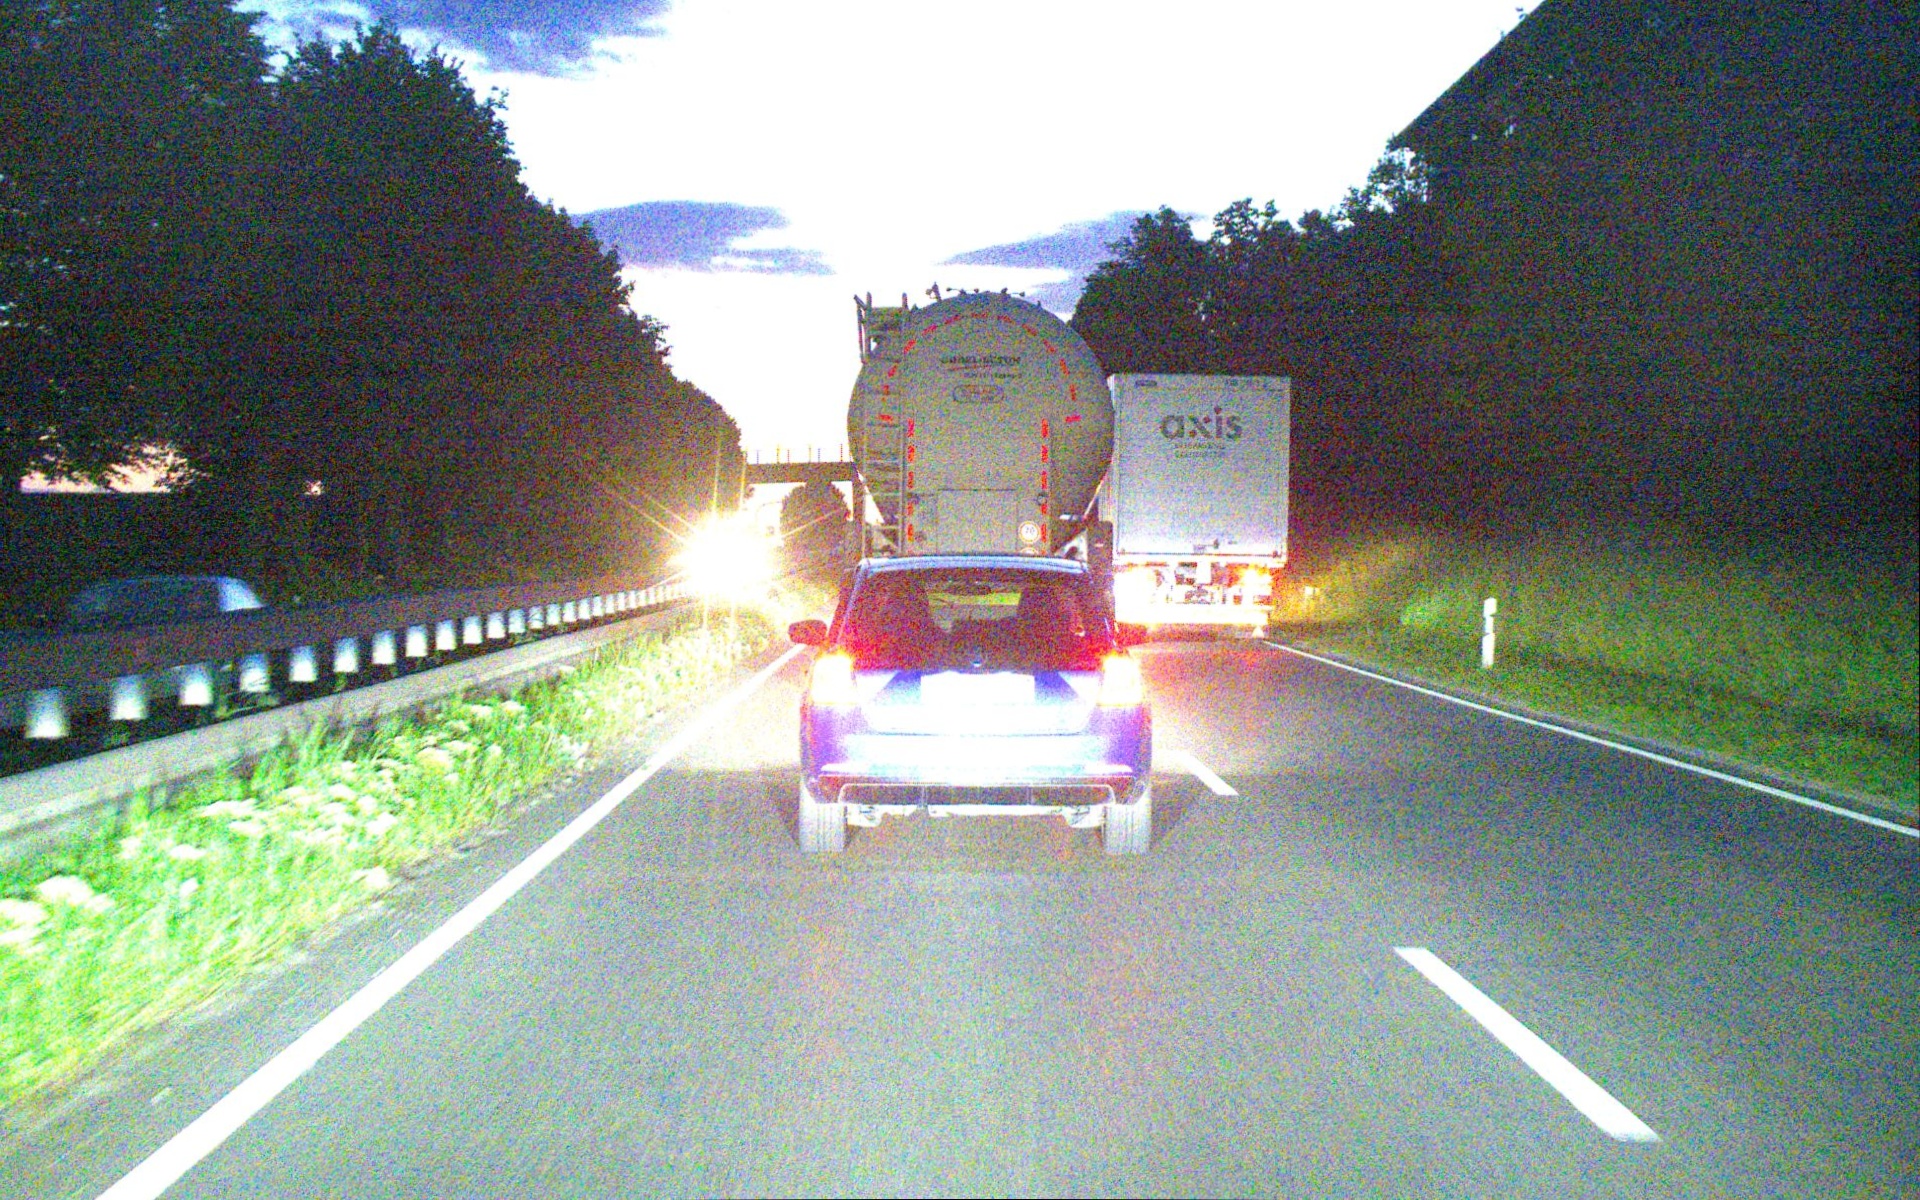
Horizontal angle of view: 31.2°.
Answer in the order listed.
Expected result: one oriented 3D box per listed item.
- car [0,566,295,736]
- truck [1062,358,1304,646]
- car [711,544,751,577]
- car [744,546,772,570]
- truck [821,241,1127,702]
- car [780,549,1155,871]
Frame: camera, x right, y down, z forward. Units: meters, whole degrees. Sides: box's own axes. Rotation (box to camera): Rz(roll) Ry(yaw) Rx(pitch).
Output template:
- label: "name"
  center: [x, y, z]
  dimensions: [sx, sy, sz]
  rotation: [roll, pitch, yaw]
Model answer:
- label: "car"
  center: [-7.352, 0.412, 31.394]
  dimensions: [1.720, 1.402, 4.575]
  rotation: [1, 1, -1]
- label: "truck"
  center: [3.377, -1.478, 55.549]
  dimensions: [2.883, 4.092, 12.684]
  rotation: [1, 1, -1]
- label: "car"
  center: [-11.265, -1.964, 169.315]
  dimensions: [1.682, 1.582, 4.167]
  rotation: [1, 1, -1]
- label: "car"
  center: [-13.304, -2.767, 226.774]
  dimensions: [1.617, 1.502, 3.869]
  rotation: [1, 1, -1]
- label: "truck"
  center: [0.041, -1.232, 37.390]
  dimensions: [2.687, 4.092, 13.142]
  rotation: [1, 1, -1]
- label: "car"
  center: [0.010, 0.479, 17.639]
  dimensions: [1.695, 1.447, 3.914]
  rotation: [1, 1, -1]
